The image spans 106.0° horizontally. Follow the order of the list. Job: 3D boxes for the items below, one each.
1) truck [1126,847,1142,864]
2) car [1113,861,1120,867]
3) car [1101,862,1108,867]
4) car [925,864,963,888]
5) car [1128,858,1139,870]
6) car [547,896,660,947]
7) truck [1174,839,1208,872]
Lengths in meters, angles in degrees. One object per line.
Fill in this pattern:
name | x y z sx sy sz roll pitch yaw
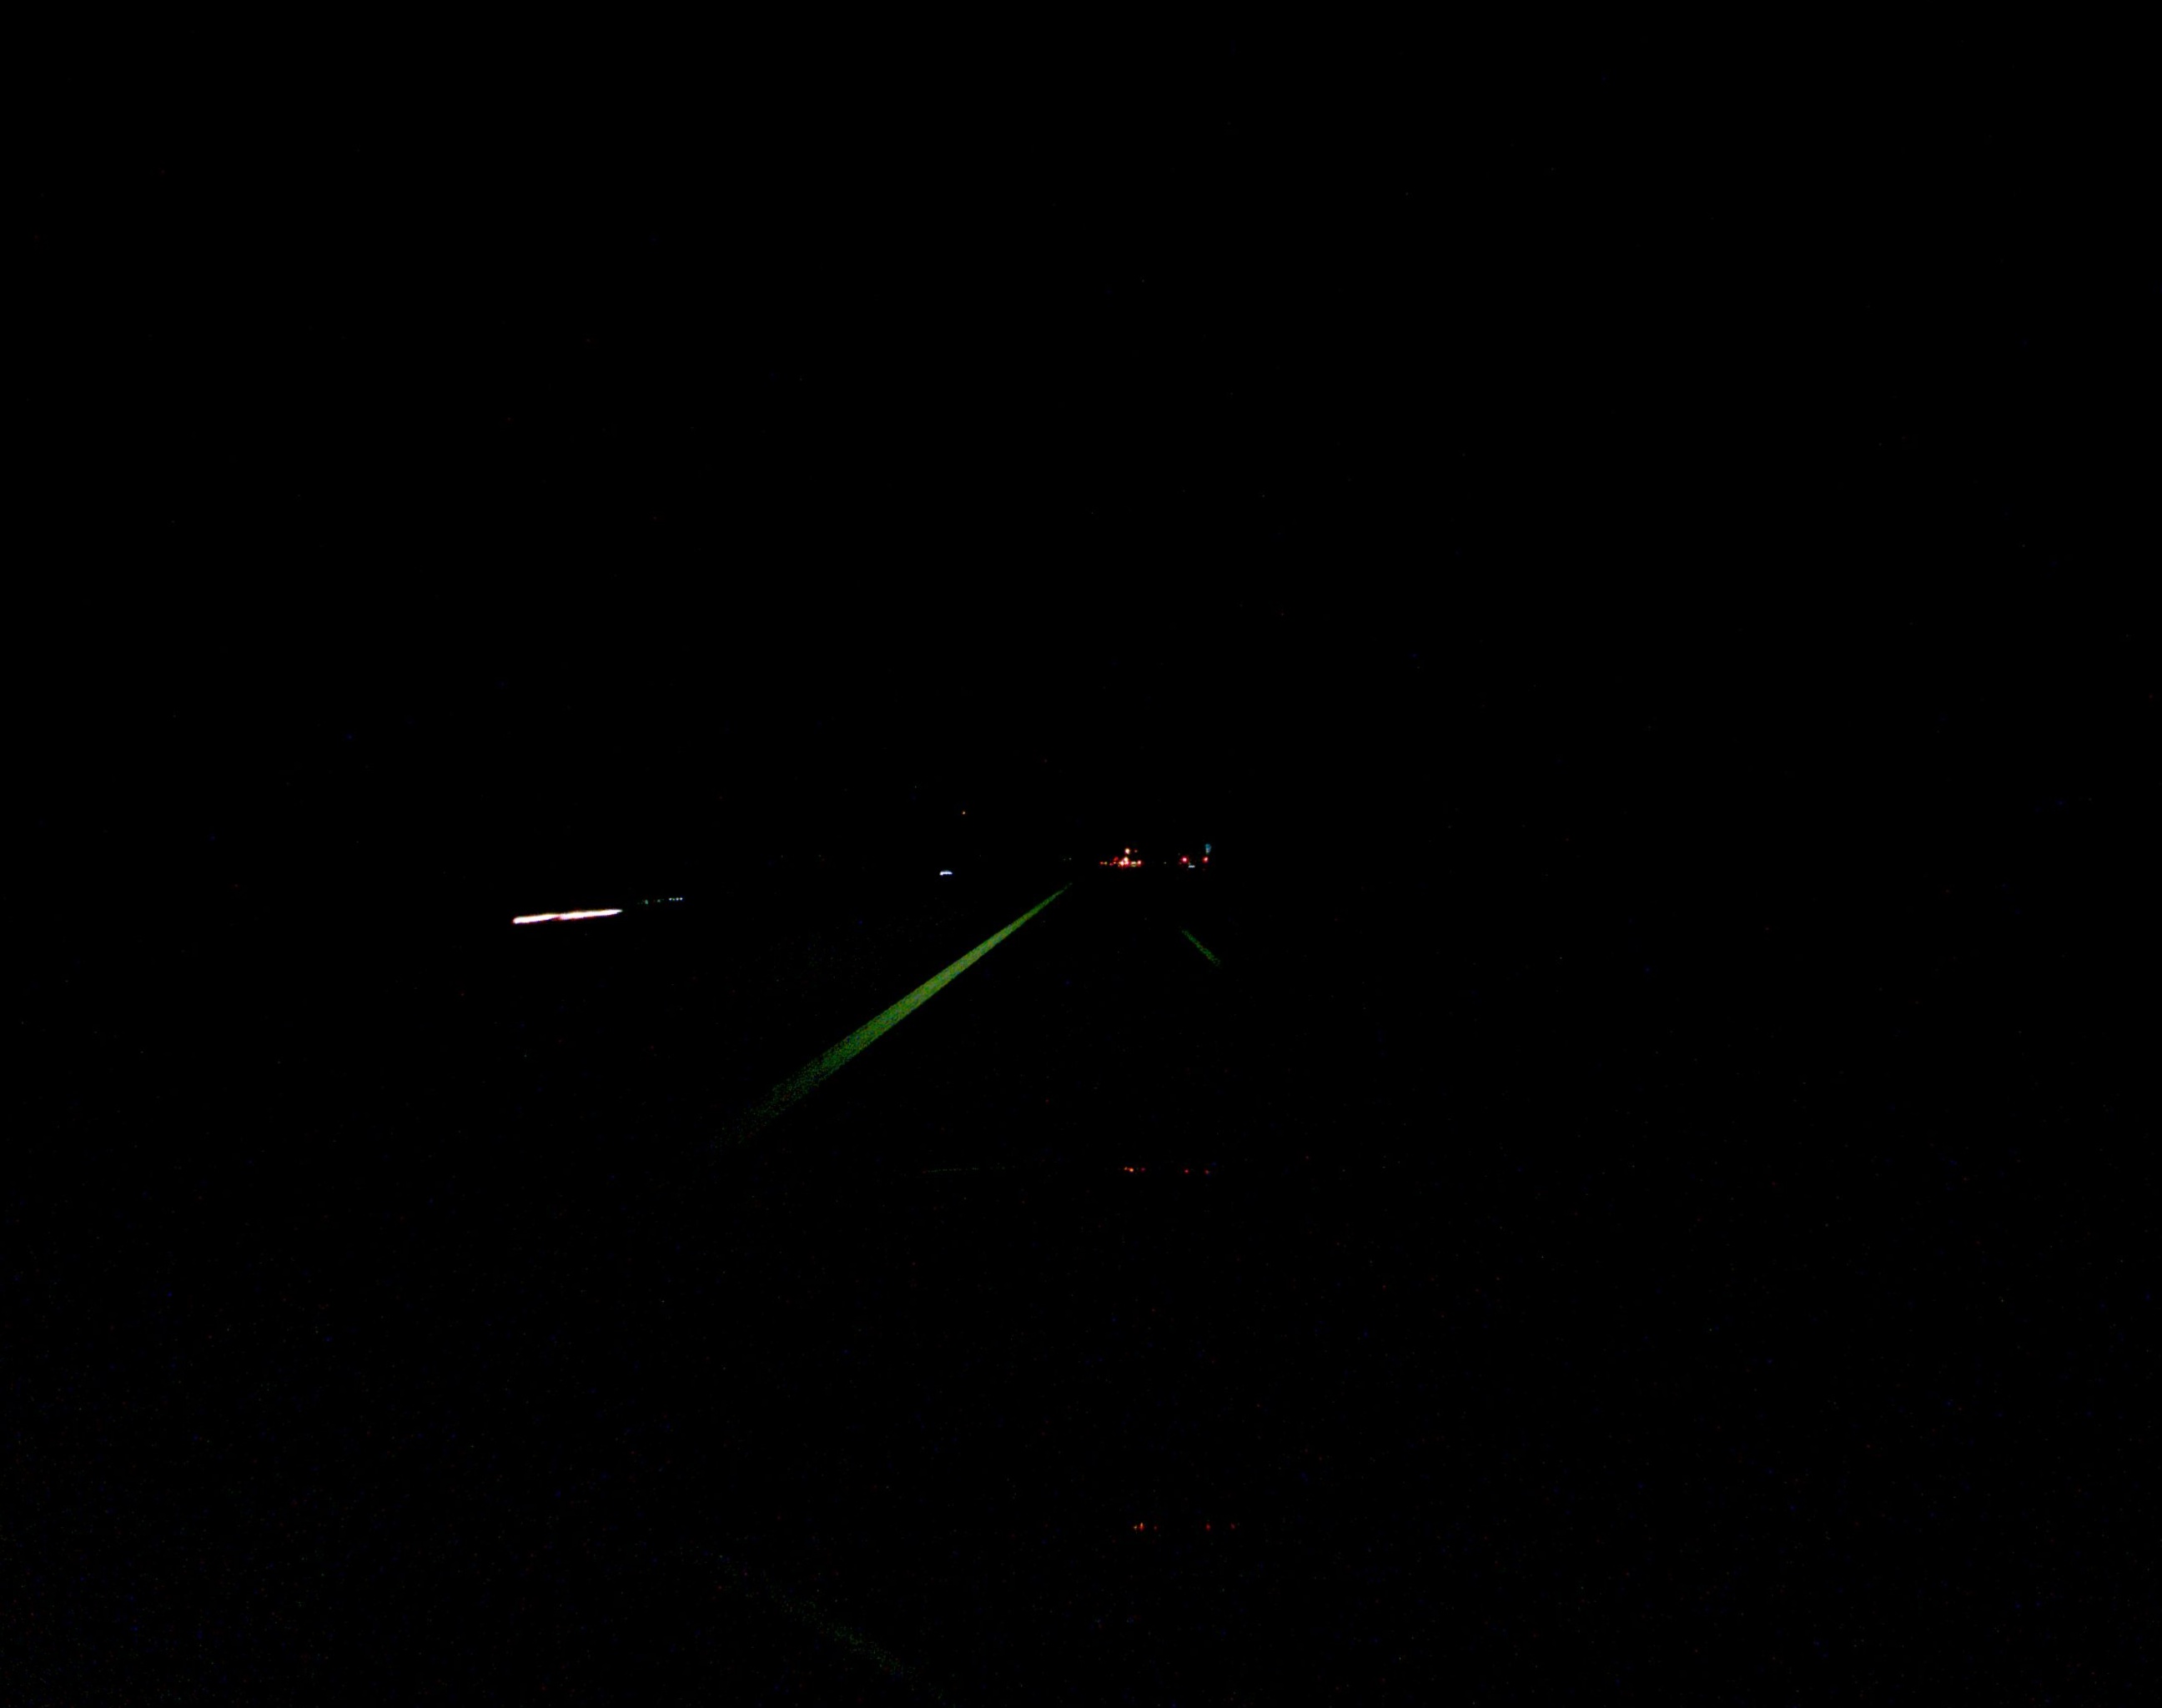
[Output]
truck | 10.723 0.176 165.240 3.032 3.324 10.148 0 0 2
car | 9.230 2.483 211.106 1.813 1.466 4.251 0 0 3
car | 6.699 2.963 233.386 1.813 1.466 4.251 0 0 3
car | -10.037 1.604 59.952 1.786 1.684 5.170 0 -2 1
car | 6.609 1.249 103.615 1.341 1.387 3.504 0 0 3
car | -15.240 2.112 26.214 1.420 1.332 3.630 0 0 1
truck | 9.634 0.235 71.641 2.069 2.691 7.307 0 -2 1
